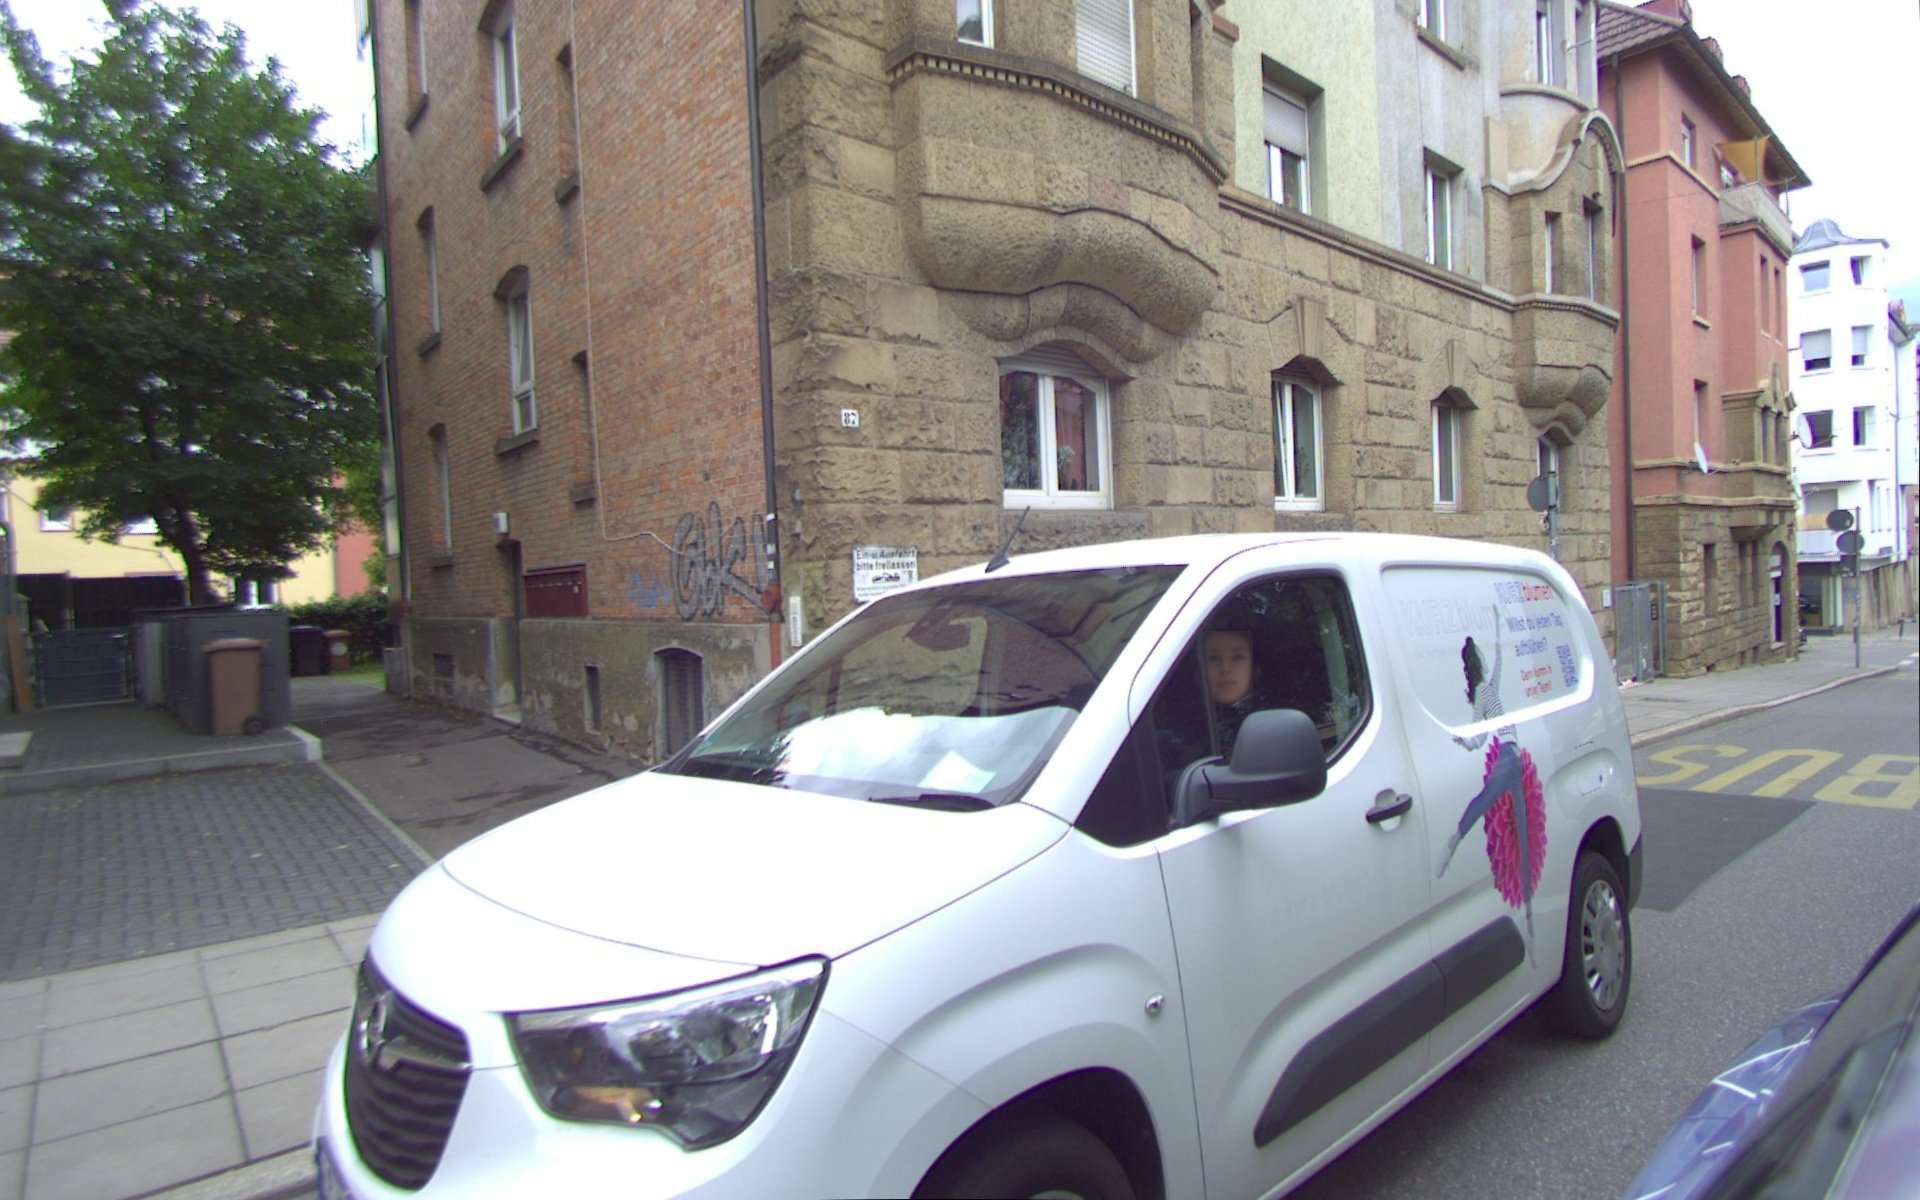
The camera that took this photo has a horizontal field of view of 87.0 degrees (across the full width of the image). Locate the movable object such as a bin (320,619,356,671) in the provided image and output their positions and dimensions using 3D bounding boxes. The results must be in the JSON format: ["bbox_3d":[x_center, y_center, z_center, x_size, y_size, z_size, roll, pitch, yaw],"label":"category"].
[{"bbox_3d":[-13.420,0.963,21.833,0.526,1.080,0.580,-2,1,-42],"label":"movable object such as a bin"}]

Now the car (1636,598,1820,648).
[{"bbox_3d":[28.118,0.882,37.168,5.125,1.570,2.203,-4,-2,44],"label":"car"}]

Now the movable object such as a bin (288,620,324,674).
[{"bbox_3d":[-13.801,0.983,21.360,0.526,1.080,0.580,-2,1,-42],"label":"movable object such as a bin"}]

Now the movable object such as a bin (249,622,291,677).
[{"bbox_3d":[-14.310,1.005,20.980,0.618,1.080,0.580,-2,1,-42],"label":"movable object such as a bin"}]

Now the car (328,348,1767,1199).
[{"bbox_3d":[0.838,0.557,3.476,4.929,1.848,1.854,-2,0,-38],"label":"car"}]

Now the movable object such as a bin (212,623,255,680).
[{"bbox_3d":[-14.563,1.027,20.283,0.618,1.080,0.580,-2,1,-42],"label":"movable object such as a bin"}]

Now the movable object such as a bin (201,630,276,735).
[{"bbox_3d":[-6.994,0.779,9.812,0.540,0.945,0.537,-2,0,-39],"label":"movable object such as a bin"}]
